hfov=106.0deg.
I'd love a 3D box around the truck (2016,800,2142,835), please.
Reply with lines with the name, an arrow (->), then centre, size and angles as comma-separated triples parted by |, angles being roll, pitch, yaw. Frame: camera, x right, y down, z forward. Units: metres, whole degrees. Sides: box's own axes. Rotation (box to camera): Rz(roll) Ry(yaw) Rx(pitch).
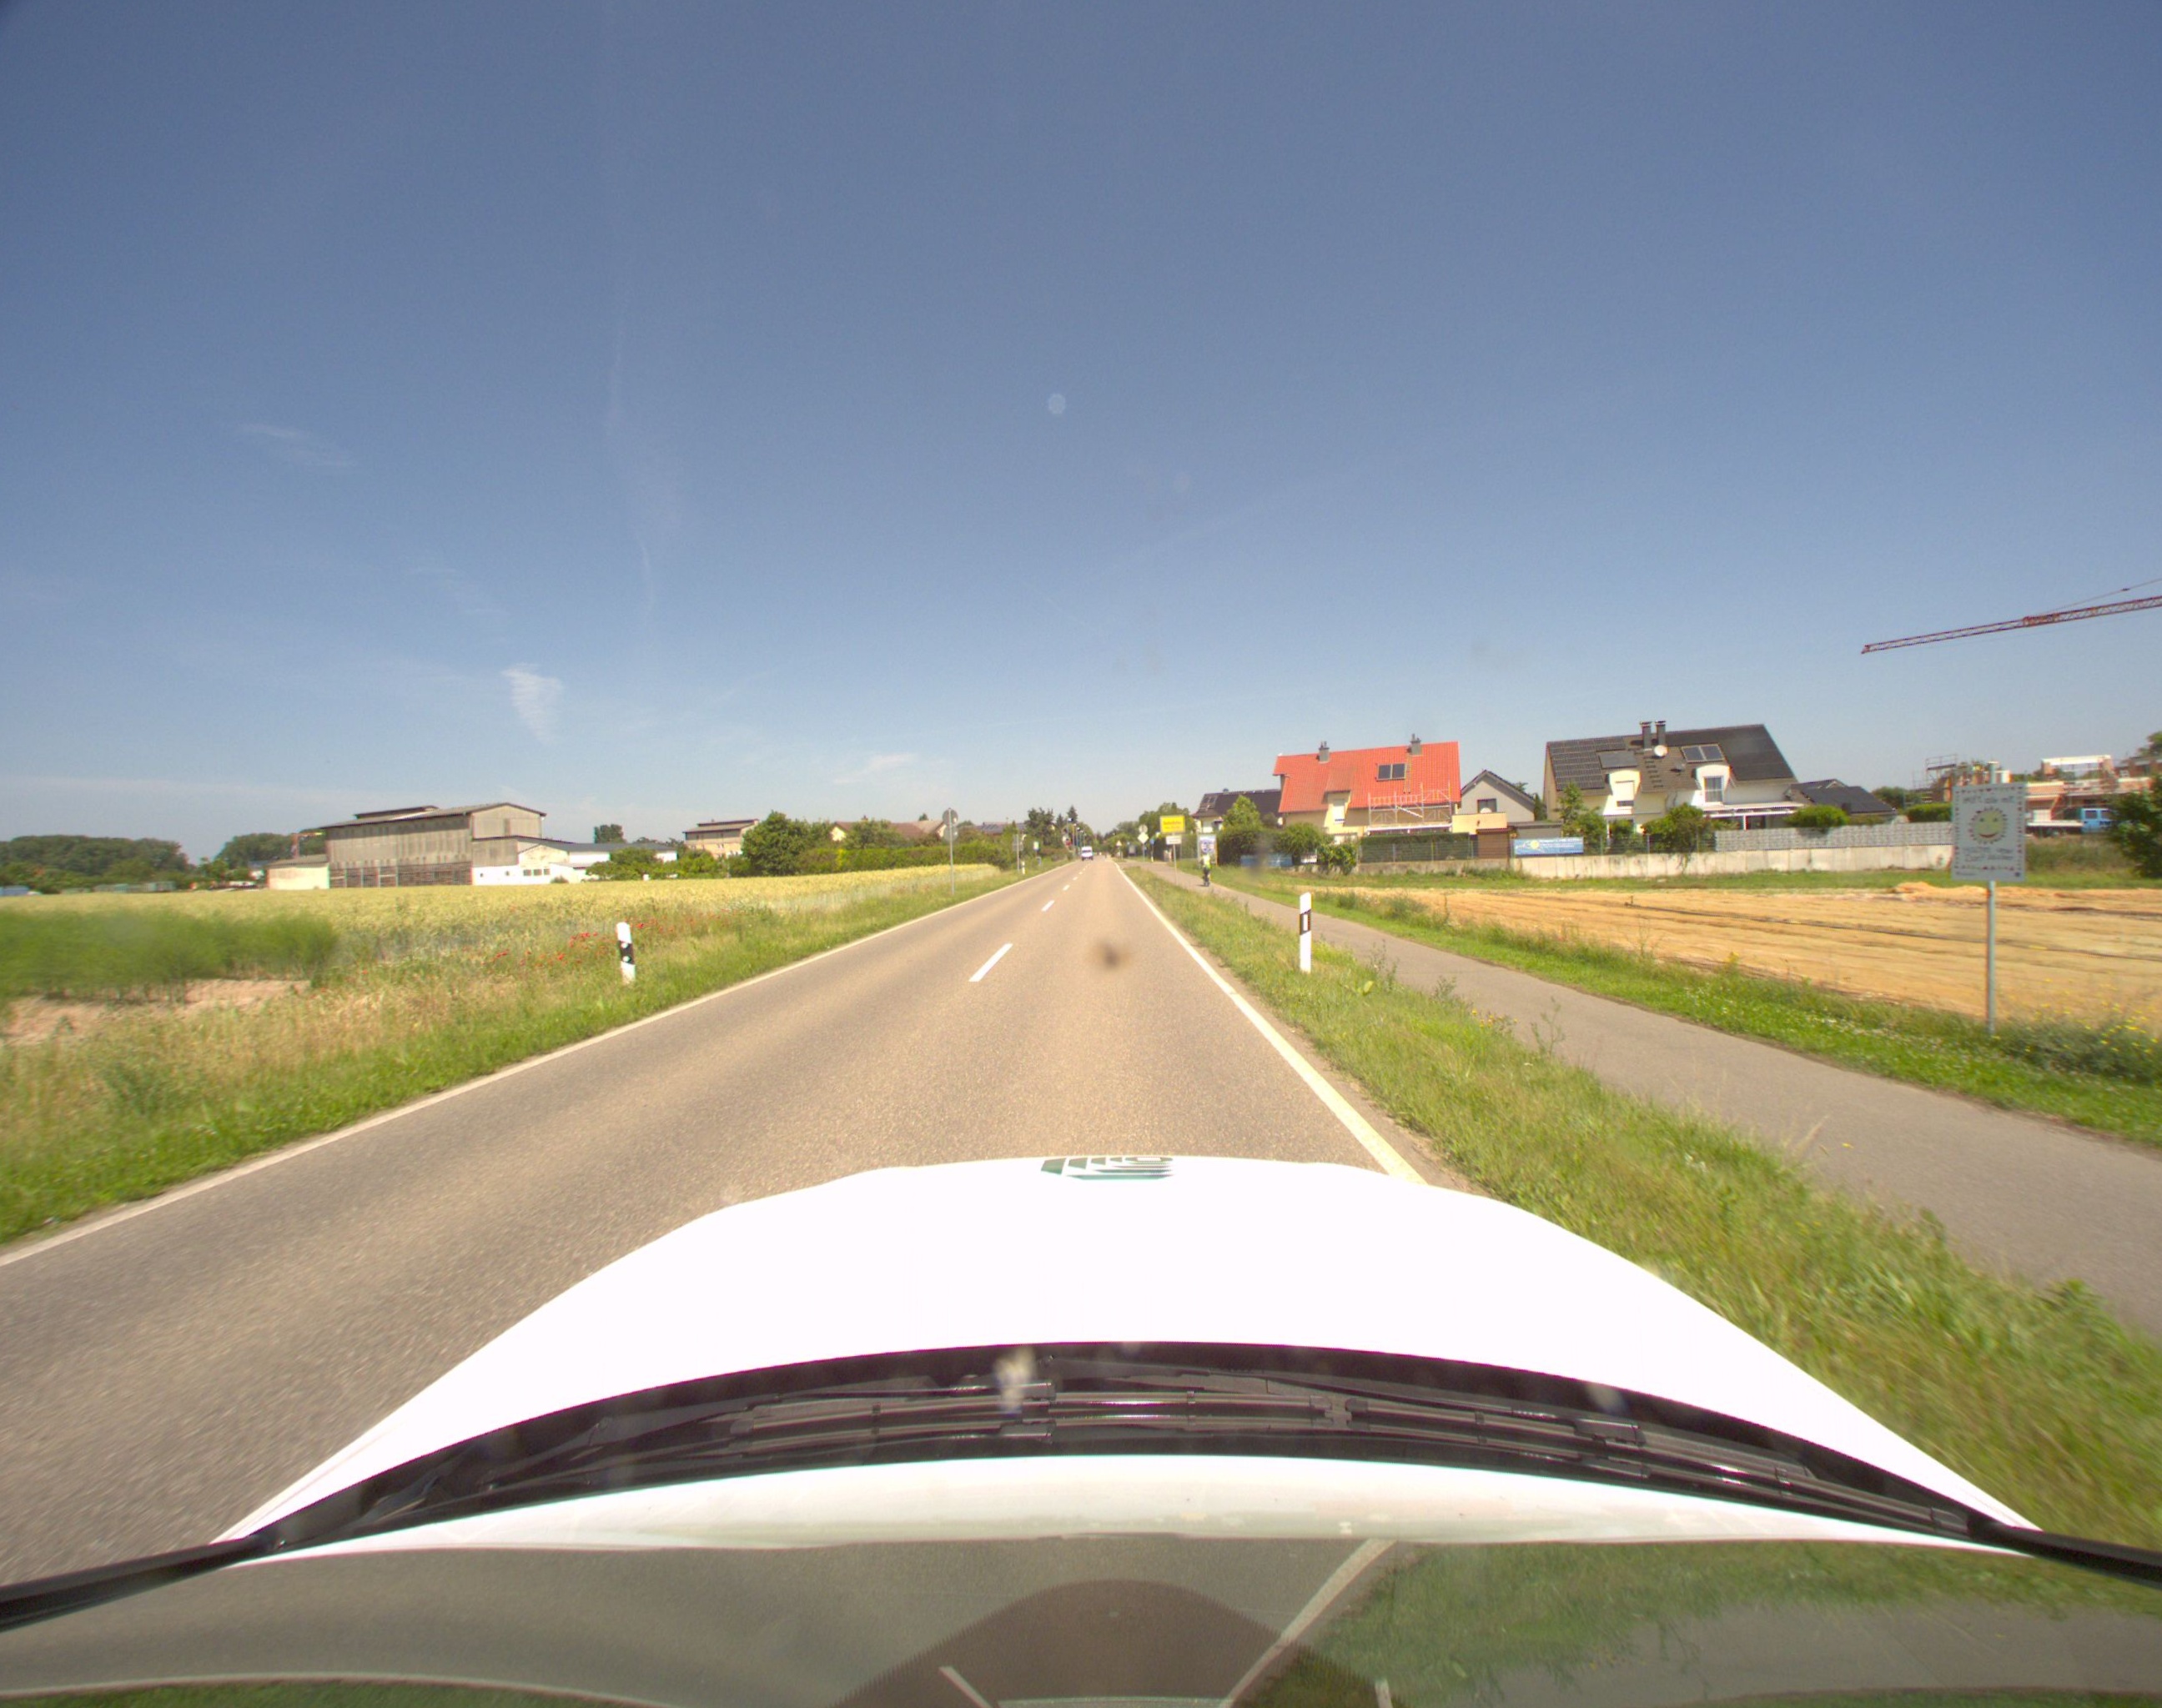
truck -> 74.982, -2.700, 61.341 | 5.502, 2.230, 2.228 | -3, 0, 26

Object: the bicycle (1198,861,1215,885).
bicycle -> 6.558, 0.998, 42.667 | 0.608, 1.158, 2.275 | -1, 1, 1

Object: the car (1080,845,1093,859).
car -> 0.985, -0.380, 148.996 | 2.070, 2.542, 5.874 | -3, 1, 1

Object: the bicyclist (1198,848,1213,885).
bicyclist -> 6.545, 0.641, 42.715 | 0.642, 1.889, 0.861 | -1, 1, 1
